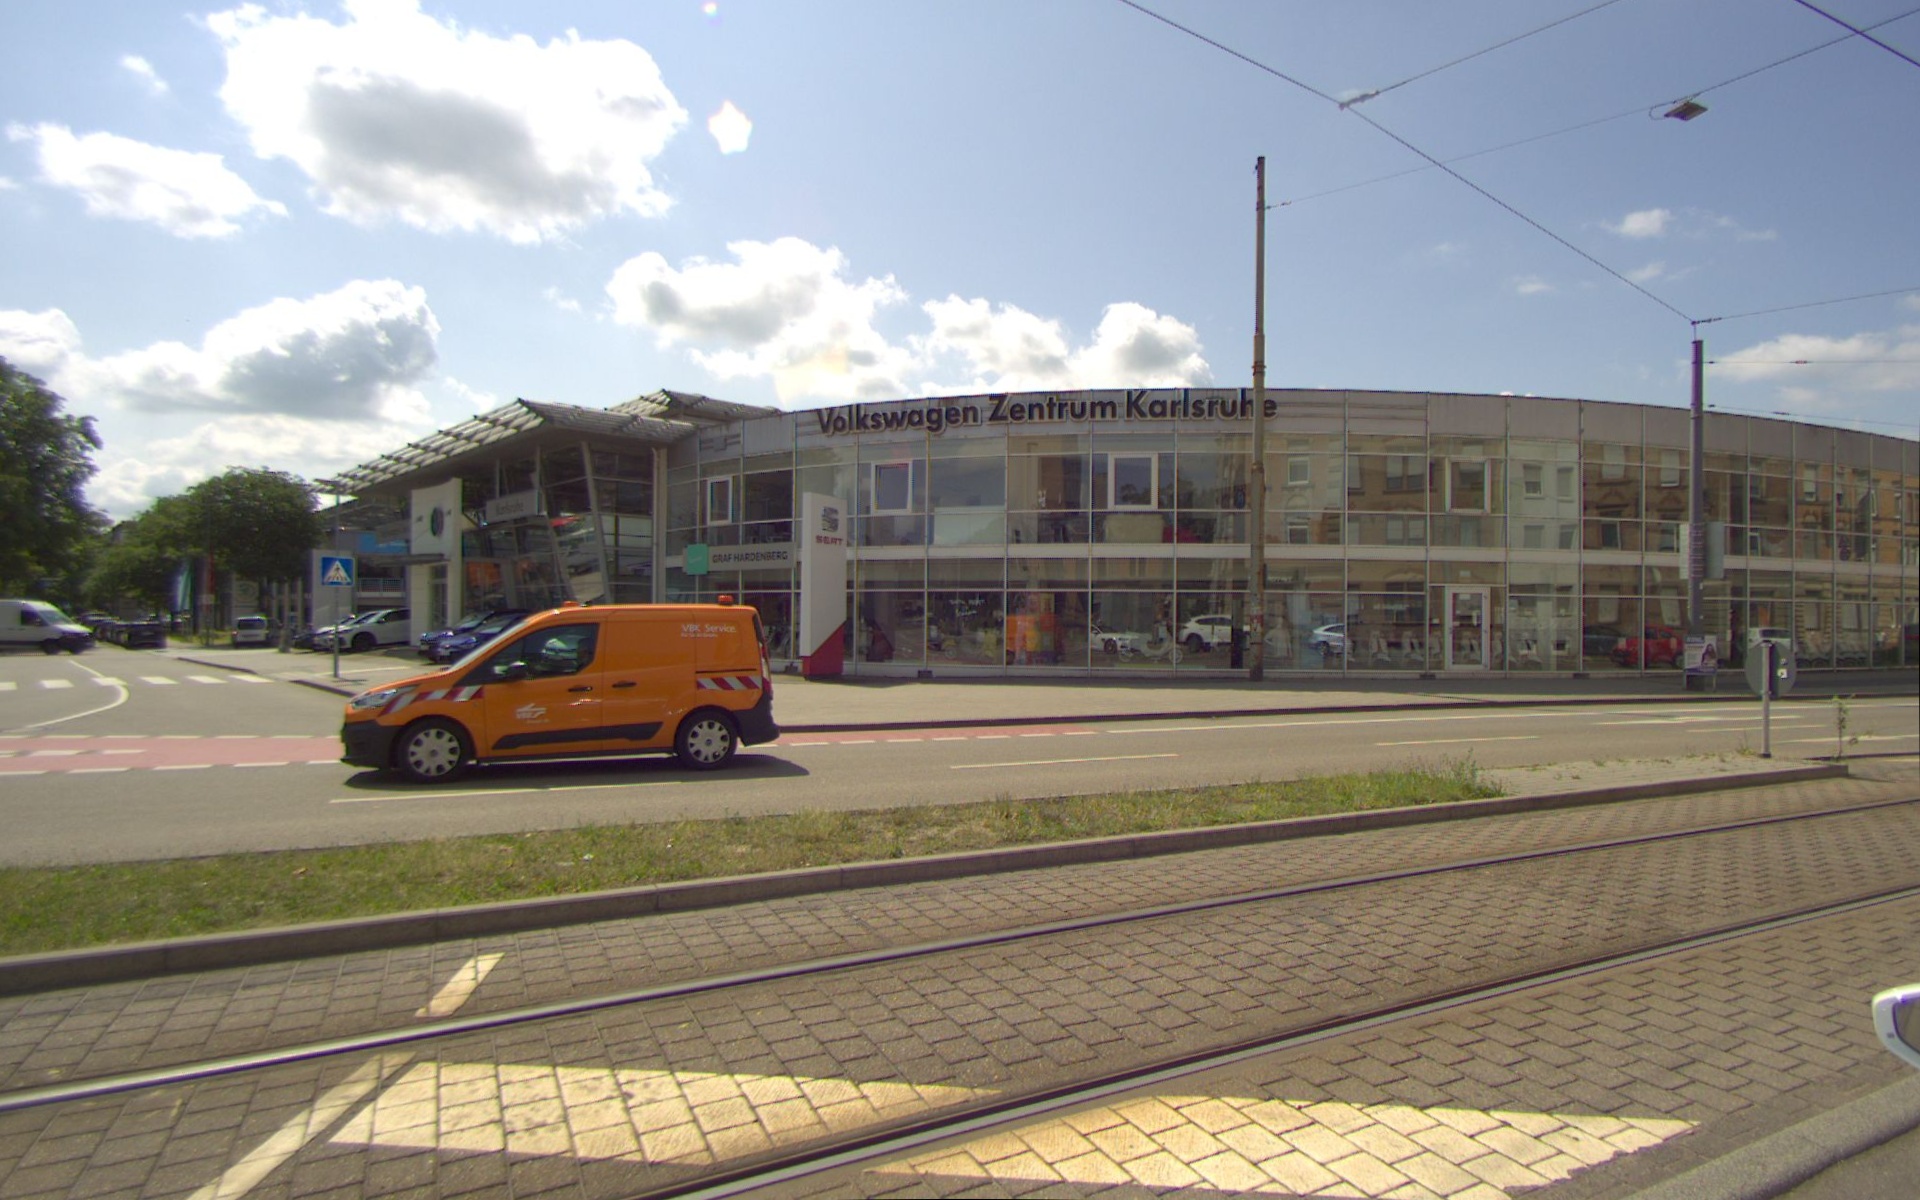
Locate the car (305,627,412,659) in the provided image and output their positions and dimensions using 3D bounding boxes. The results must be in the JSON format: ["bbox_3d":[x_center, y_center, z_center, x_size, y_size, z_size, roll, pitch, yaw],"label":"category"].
[{"bbox_3d":[-25.587,1.803,42.785,1.533,1.262,3.624,-1,-1,38],"label":"car"}]

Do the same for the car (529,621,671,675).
[{"bbox_3d":[-10.593,1.376,29.834,1.799,1.466,3.946,0,-1,22],"label":"car"}]

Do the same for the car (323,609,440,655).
[{"bbox_3d":[-23.594,1.289,41.081,1.677,1.798,3.842,-1,-1,44],"label":"car"}]

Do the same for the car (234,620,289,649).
[{"bbox_3d":[-40.608,1.966,58.476,1.973,1.639,3.975,1,-1,-26],"label":"car"}]

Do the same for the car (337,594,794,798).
[{"bbox_3d":[-4.162,0.939,11.069,4.304,1.890,1.907,0,-2,-23],"label":"car"}]

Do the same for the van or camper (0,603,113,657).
[{"bbox_3d":[-45.297,1.411,48.217,6.569,2.532,2.572,0,-1,-15],"label":"van or camper"}]

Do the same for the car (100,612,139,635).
[{"bbox_3d":[-61.397,1.701,73.426,1.982,1.639,3.958,1,-1,-37],"label":"car"}]

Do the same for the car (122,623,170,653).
[{"bbox_3d":[-47.256,2.180,58.392,1.982,1.706,3.958,1,-1,-37],"label":"car"}]

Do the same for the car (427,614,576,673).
[{"bbox_3d":[-13.729,1.256,30.257,1.633,1.494,3.776,0,1,34],"label":"car"}]

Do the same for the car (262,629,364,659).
[{"bbox_3d":[-29.565,1.971,45.952,1.532,1.262,3.628,0,-1,34],"label":"car"}]

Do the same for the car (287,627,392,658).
[{"bbox_3d":[-27.299,1.843,44.296,1.532,1.262,3.628,0,-1,34],"label":"car"}]

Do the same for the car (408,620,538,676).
[{"bbox_3d":[-15.713,1.510,32.607,1.741,1.695,3.640,0,-1,18],"label":"car"}]
